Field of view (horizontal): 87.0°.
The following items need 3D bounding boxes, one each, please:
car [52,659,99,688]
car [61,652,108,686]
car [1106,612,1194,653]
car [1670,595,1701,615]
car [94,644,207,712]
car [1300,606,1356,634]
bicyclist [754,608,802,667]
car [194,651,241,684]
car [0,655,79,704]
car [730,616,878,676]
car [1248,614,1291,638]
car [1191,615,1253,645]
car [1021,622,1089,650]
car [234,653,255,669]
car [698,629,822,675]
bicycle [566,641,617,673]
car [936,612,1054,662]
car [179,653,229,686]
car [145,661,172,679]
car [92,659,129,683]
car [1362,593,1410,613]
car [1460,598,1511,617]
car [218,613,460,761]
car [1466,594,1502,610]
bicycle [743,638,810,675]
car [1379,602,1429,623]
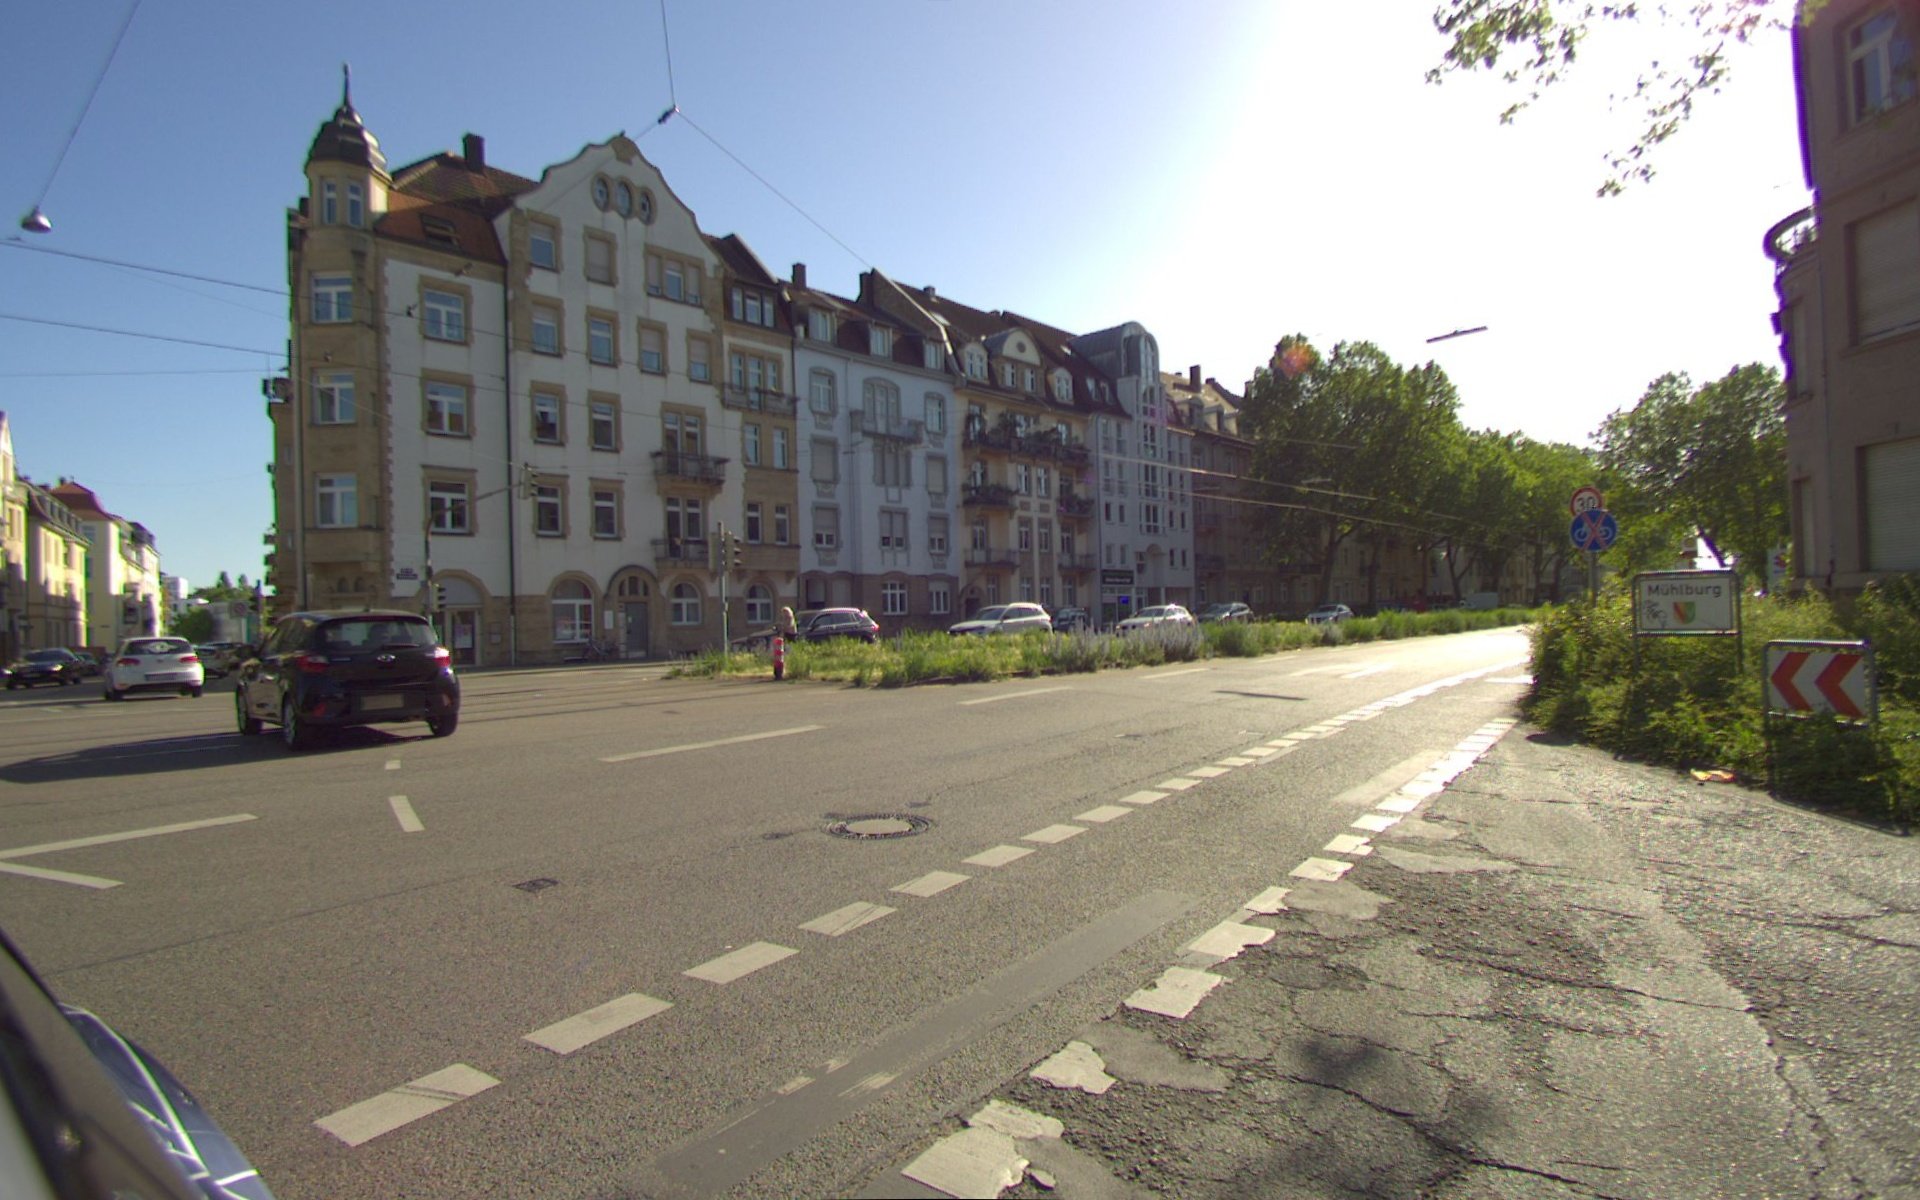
[{"bbox_3d":[-54.925,4.547,62.889,1.805,1.608,3.828,-4,-1,-36],"label":"car"},{"bbox_3d":[-57.529,4.521,66.551,1.804,2.050,3.829,-4,-1,-34],"label":"car"},{"bbox_3d":[7.759,1.290,41.063,1.765,1.541,3.843,-4,-3,41],"label":"car"},{"bbox_3d":[71.552,0.490,99.777,1.985,1.850,4.058,-3,-2,42],"label":"car"},{"bbox_3d":[-19.913,1.876,24.832,1.785,1.469,4.003,0,-3,-44],"label":"car"},{"bbox_3d":[22.960,1.246,63.048,1.819,1.603,4.187,-3,-2,42],"label":"car"},{"bbox_3d":[-4.945,1.018,27.478,0.687,1.554,1.059,-3,-2,43],"label":"bicyclist"},{"bbox_3d":[-43.125,3.892,58.861,1.887,1.671,4.358,-5,1,-33],"label":"car"},{"bbox_3d":[-36.165,3.079,39.669,1.847,1.679,4.011,-3,-1,-33],"label":"car"},{"bbox_3d":[-4.817,1.402,31.585,2.000,1.657,4.180,-5,-3,43],"label":"car"},{"bbox_3d":[22.986,1.925,75.146,1.643,1.600,3.354,-5,-3,44],"label":"car"},{"bbox_3d":[13.396,1.523,51.667,1.592,1.387,3.651,-3,-2,41],"label":"car"},{"bbox_3d":[5.289,1.976,56.055,1.766,1.400,3.841,-4,-2,43],"label":"car"},{"bbox_3d":[-83.079,7.095,117.519,1.888,1.636,4.357,-5,1,-35],"label":"car"},{"bbox_3d":[-6.782,1.761,34.567,1.766,1.400,3.841,-4,-3,43],"label":"car"},{"bbox_3d":[-14.271,2.209,39.201,0.610,1.142,1.785,-4,-2,41],"label":"bicycle"},{"bbox_3d":[1.216,1.218,34.047,1.766,1.541,3.963,-4,-2,43],"label":"car"},{"bbox_3d":[-34.715,3.166,46.508,1.531,1.422,3.581,1,-4,-32],"label":"car"},{"bbox_3d":[-87.702,7.630,110.761,1.847,1.679,4.011,-3,-1,-33],"label":"car"},{"bbox_3d":[-64.540,5.375,76.905,1.805,1.608,3.828,-4,-1,-36],"label":"car"},{"bbox_3d":[40.817,0.284,96.985,3.758,1.718,1.845,-4,0,2],"label":"car"},{"bbox_3d":[57.513,0.815,110.822,4.534,1.718,1.844,-4,0,4],"label":"car"},{"bbox_3d":[-7.541,0.931,12.136,1.641,1.475,3.810,0,-1,-45],"label":"car"},{"bbox_3d":[63.485,0.233,122.608,3.790,1.718,1.829,-4,0,28],"label":"car"},{"bbox_3d":[-4.971,1.527,27.427,0.795,0.932,1.614,-4,-3,43],"label":"bicycle"},{"bbox_3d":[41.495,1.145,94.706,3.758,1.718,1.845,-4,0,2],"label":"car"}]
